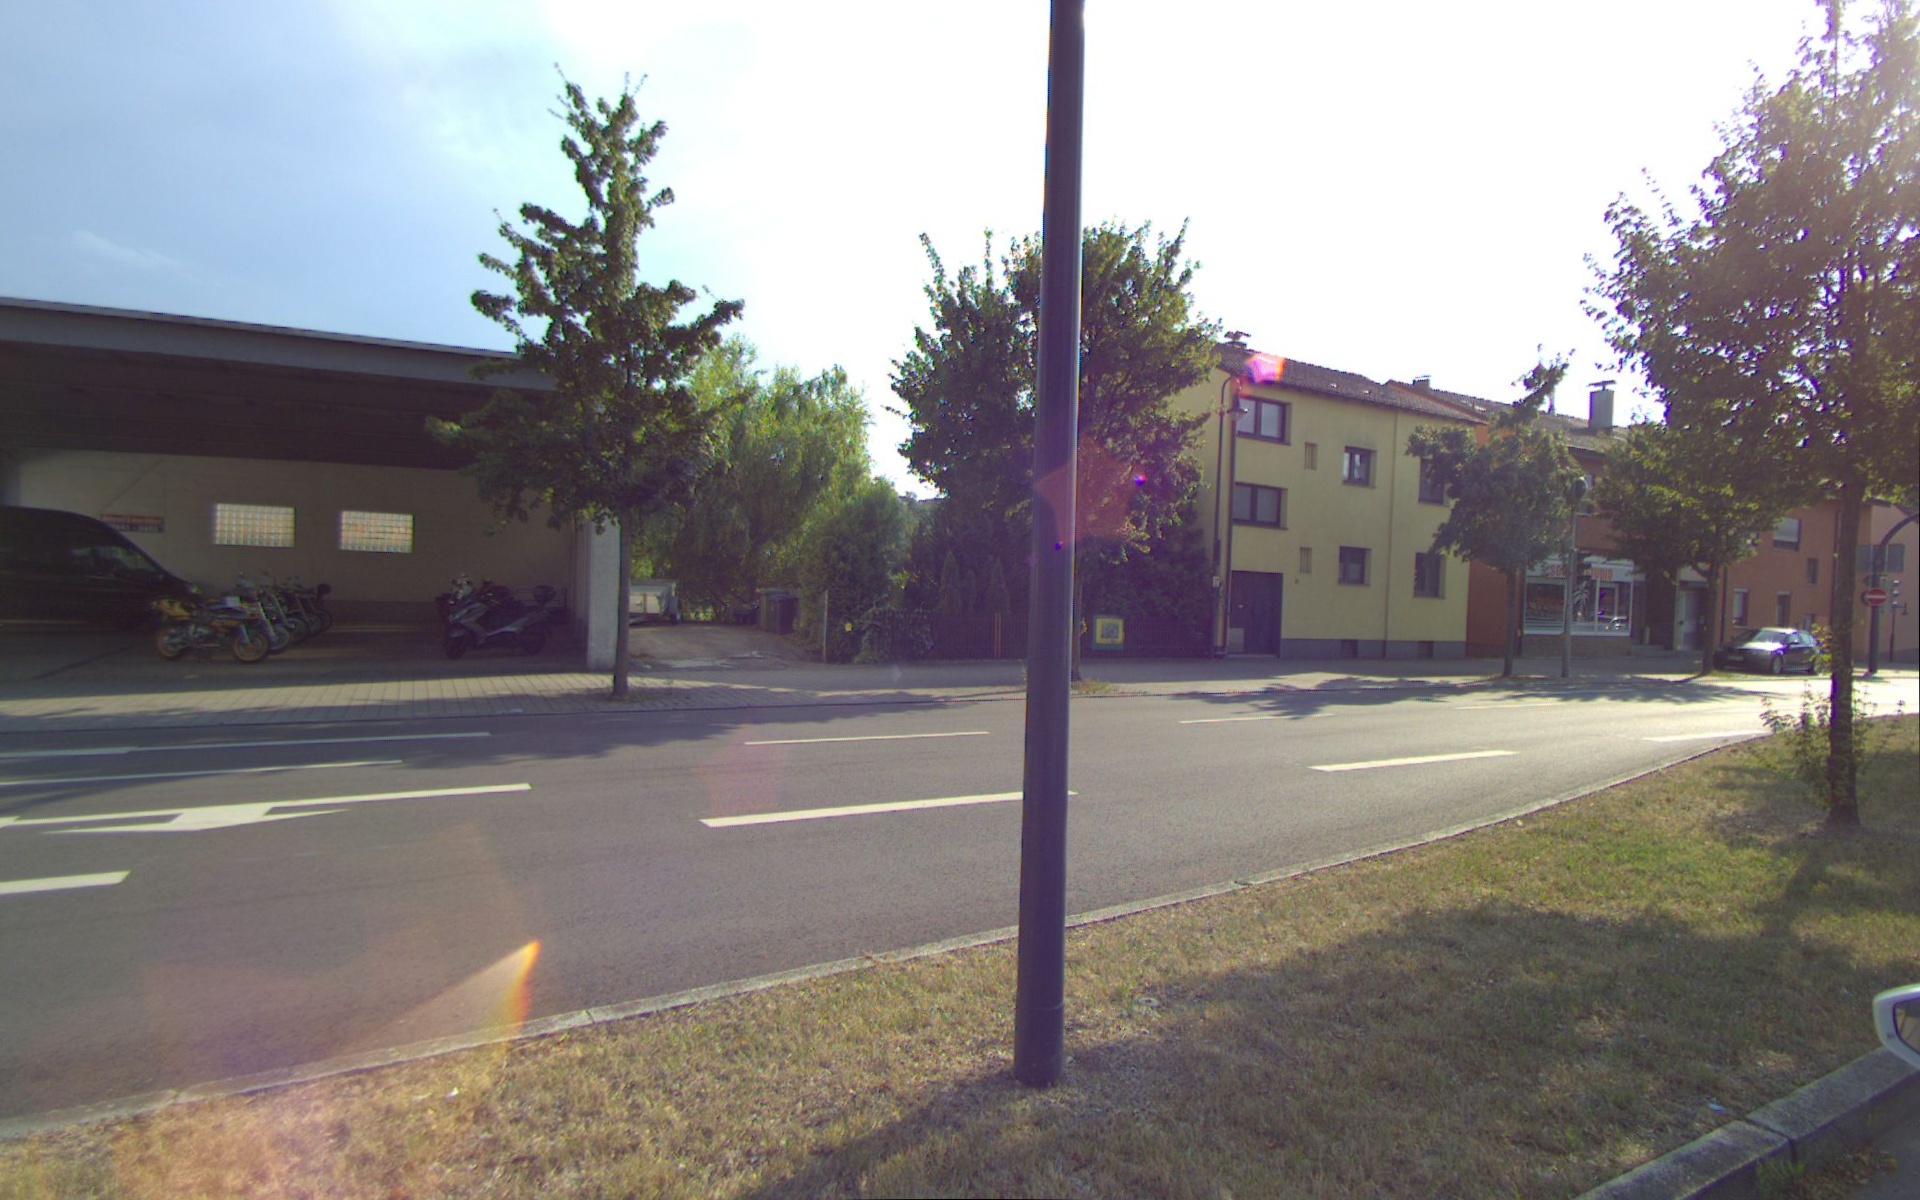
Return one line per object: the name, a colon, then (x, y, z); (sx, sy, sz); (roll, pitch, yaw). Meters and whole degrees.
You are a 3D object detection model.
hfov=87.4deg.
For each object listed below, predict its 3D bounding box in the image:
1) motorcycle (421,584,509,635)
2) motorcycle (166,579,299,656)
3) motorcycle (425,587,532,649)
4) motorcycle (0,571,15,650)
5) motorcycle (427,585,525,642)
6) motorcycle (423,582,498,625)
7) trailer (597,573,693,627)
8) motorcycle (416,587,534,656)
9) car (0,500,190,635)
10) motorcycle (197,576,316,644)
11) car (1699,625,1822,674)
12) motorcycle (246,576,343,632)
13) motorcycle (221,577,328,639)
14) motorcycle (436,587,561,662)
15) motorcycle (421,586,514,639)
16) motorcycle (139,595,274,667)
motorcycle: (-13.536, 0.238, 27.519); (0.621, 1.314, 2.113); (1, 2, 36)
motorcycle: (-13.655, 0.316, 18.862); (2.219, 1.354, 0.631); (1, 0, 10)
motorcycle: (-10.765, 0.381, 22.537); (0.621, 1.314, 2.113); (1, 2, 36)
motorcycle: (-17.311, 0.165, 16.725); (0.619, 1.380, 2.225); (1, 0, 24)
motorcycle: (-11.789, 0.309, 24.538); (0.621, 1.314, 2.113); (1, 2, 36)
motorcycle: (-15.981, 0.099, 32.177); (0.621, 1.314, 2.113); (1, 2, 36)
trailer: (-8.240, -0.009, 26.617); (1.698, 1.280, 3.995); (1, 0, -7)
motorcycle: (-9.835, 0.398, 20.459); (0.621, 1.314, 2.113); (1, 2, 36)
car: (-20.475, -0.684, 22.092); (1.962, 2.789, 5.280); (1, 0, 26)
motorcycle: (-14.776, 0.202, 21.105); (2.219, 1.354, 0.631); (1, 0, 10)
car: (25.947, 1.594, 32.550); (3.953, 1.319, 1.728); (1, 4, -30)
motorcycle: (-16.932, 0.100, 25.573); (2.219, 1.354, 0.631); (1, 0, 10)
motorcycle: (-15.907, 0.179, 23.314); (2.219, 1.354, 0.631); (1, 0, 10)
motorcycle: (-8.642, 0.427, 18.897); (0.621, 1.314, 2.113); (1, 2, 36)
motorcycle: (-12.671, 0.290, 25.921); (0.621, 1.314, 2.113); (1, 2, 36)
motorcycle: (-12.520, 0.500, 16.697); (1.993, 1.101, 0.631); (1, 0, 12)
